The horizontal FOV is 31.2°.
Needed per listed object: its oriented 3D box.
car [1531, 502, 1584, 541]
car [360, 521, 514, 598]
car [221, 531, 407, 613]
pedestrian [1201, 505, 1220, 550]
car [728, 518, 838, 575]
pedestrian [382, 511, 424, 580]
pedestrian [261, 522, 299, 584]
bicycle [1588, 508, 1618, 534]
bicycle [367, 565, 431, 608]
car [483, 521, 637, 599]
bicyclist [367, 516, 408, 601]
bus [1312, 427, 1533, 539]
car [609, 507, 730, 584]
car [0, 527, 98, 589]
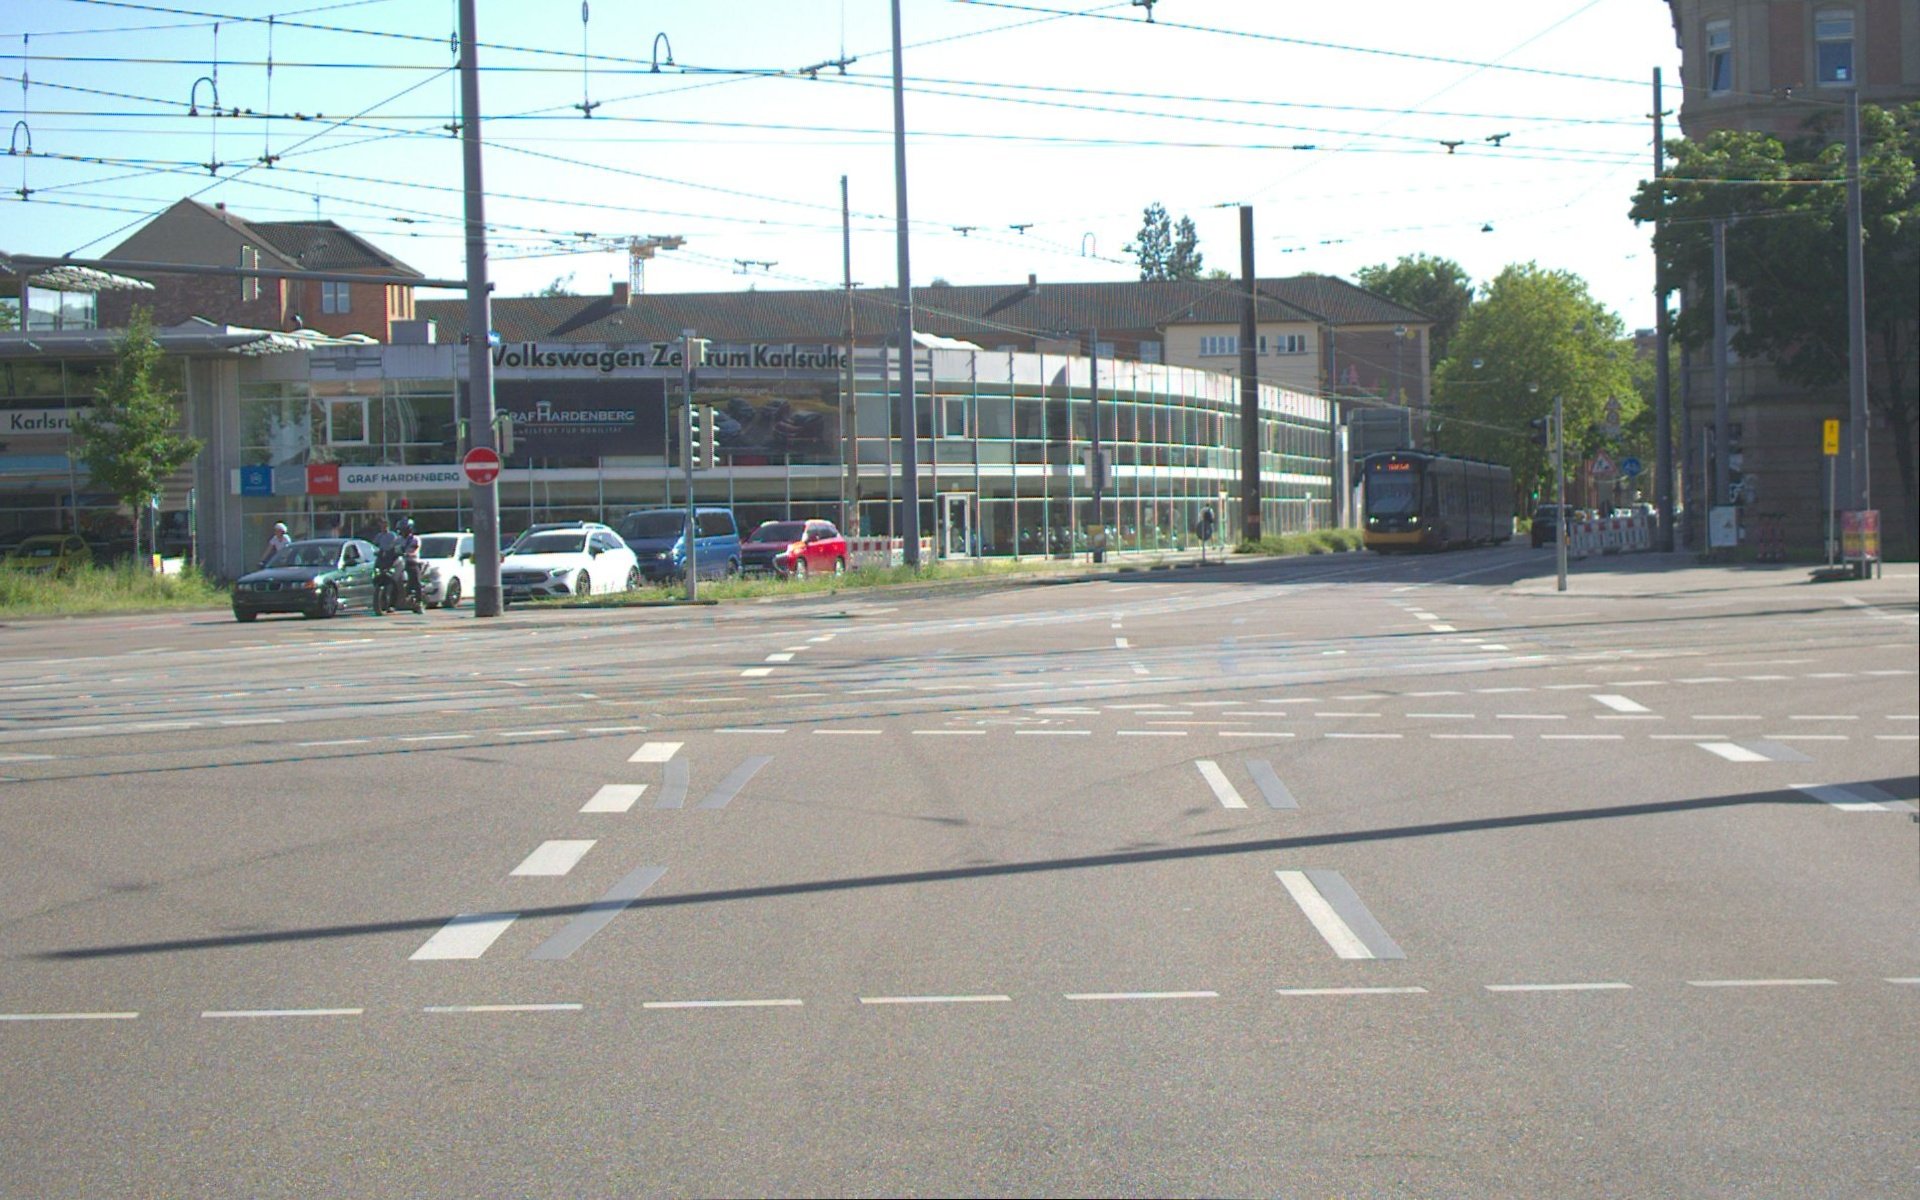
[{"bbox_3d":[23.639,-3.122,135.854,1.700,1.497,4.262,-1,1,14],"label":"car"},{"bbox_3d":[-10.125,-0.809,66.824,1.627,1.419,3.683,-1,1,14],"label":"car"},{"bbox_3d":[-11.393,-0.512,60.873,1.705,1.349,3.698,-1,1,17],"label":"car"},{"bbox_3d":[9.596,-2.785,131.765,0.543,1.683,0.629,-1,1,20],"label":"pedestrian"},{"bbox_3d":[-4.402,-1.344,86.082,1.627,1.359,3.683,-1,1,16],"label":"car"},{"bbox_3d":[-9.781,-0.960,60.378,0.423,1.200,0.749,-1,1,17],"label":"pedestrian"},{"bbox_3d":[-13.261,-0.922,67.068,0.423,1.200,0.680,-1,1,19],"label":"pedestrian"},{"bbox_3d":[21.391,-2.634,114.331,0.743,0.867,1.929,-1,1,17],"label":"bicycle"},{"bbox_3d":[-9.815,-0.239,60.206,0.423,0.715,1.633,-1,1,17],"label":"bicycle"},{"bbox_3d":[-7.525,-0.769,64.943,1.627,1.377,3.735,-1,1,14],"label":"car"},{"bbox_3d":[-11.595,-0.850,69.634,0.569,1.708,0.648,-1,1,12],"label":"bicyclist"},{"bbox_3d":[17.373,-4.107,126.387,3.840,3.595,24.845,1,1,17],"label":"bus"},{"bbox_3d":[-6.650,-1.273,78.955,1.627,1.686,3.683,-1,1,14],"label":"car"},{"bbox_3d":[-26.538,-1.237,99.872,1.966,1.700,4.084,-1,1,-1],"label":"car"}]
